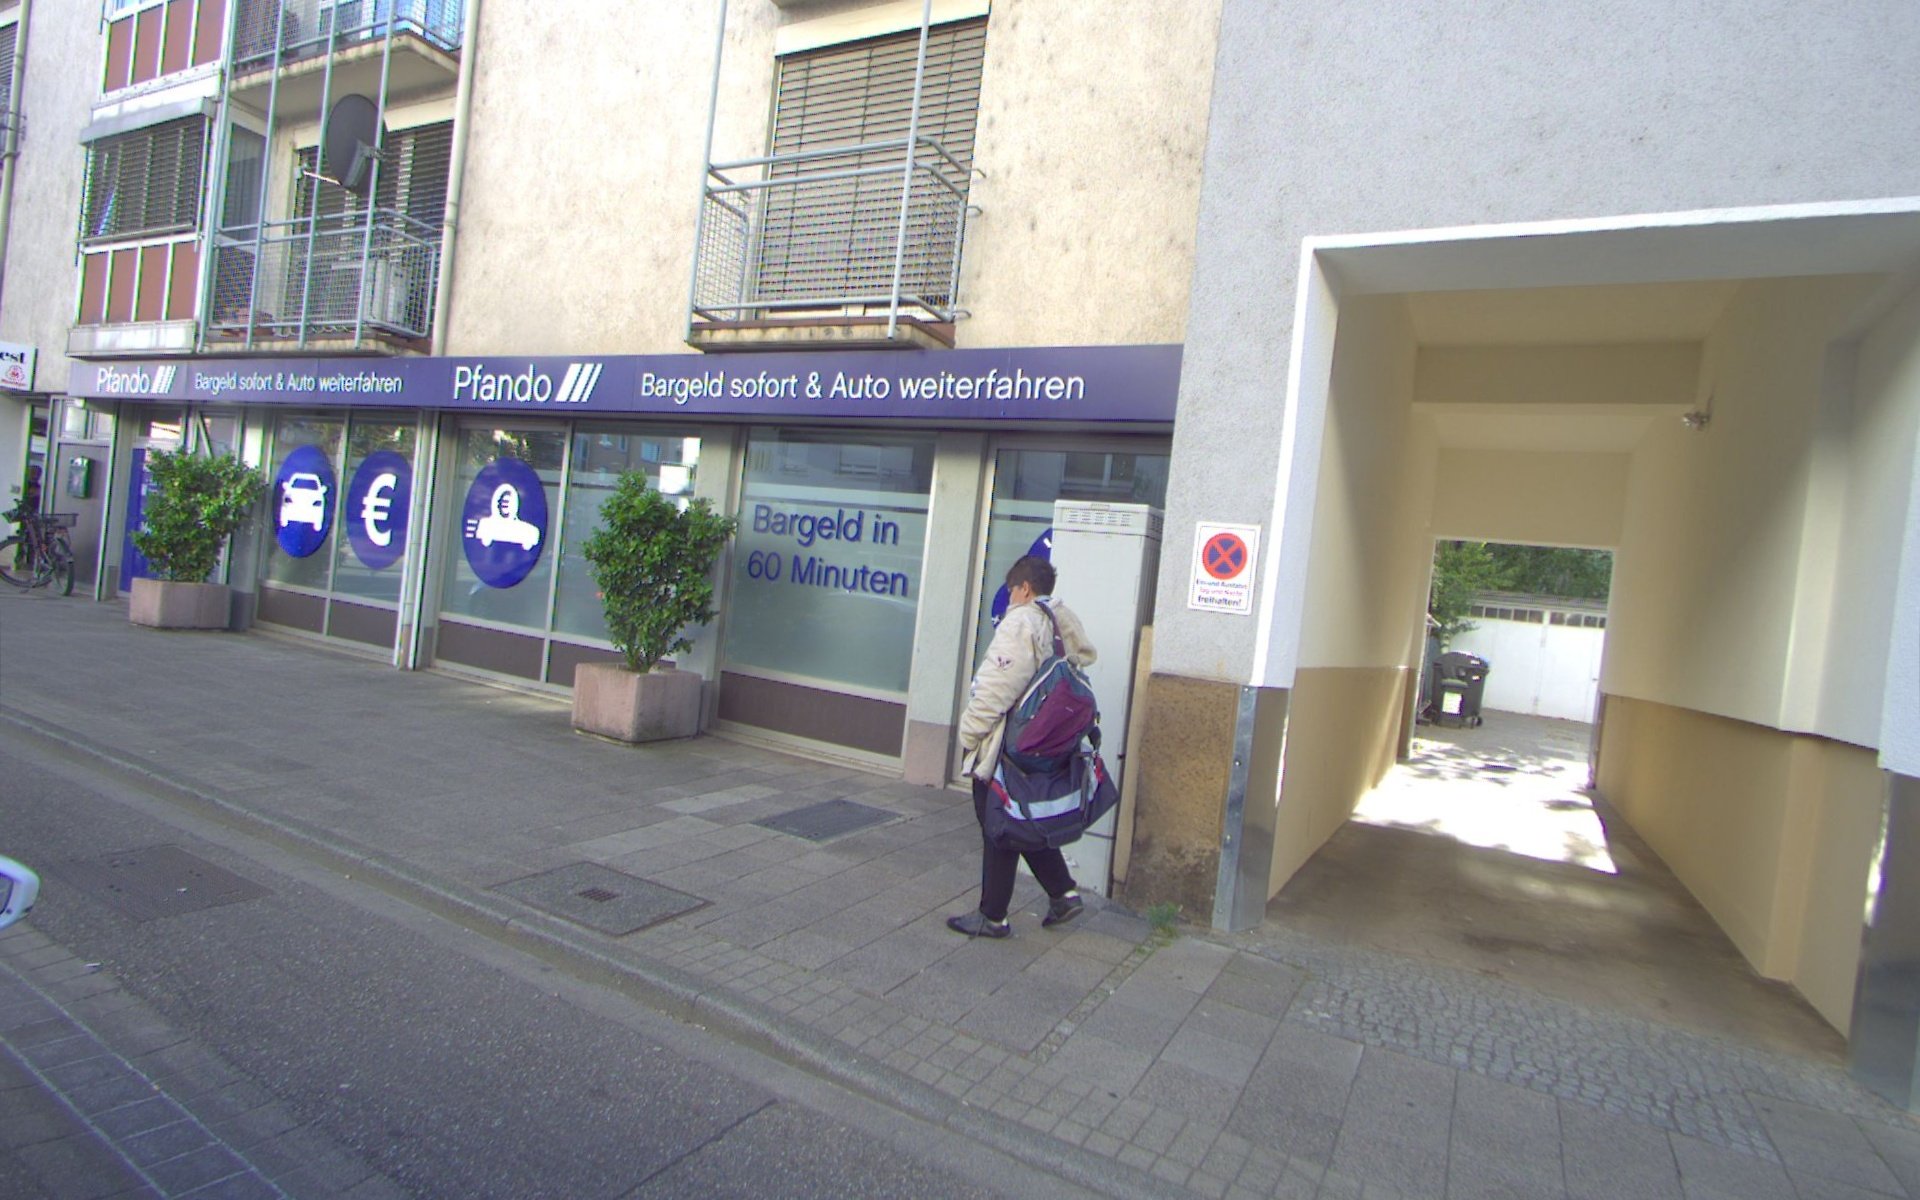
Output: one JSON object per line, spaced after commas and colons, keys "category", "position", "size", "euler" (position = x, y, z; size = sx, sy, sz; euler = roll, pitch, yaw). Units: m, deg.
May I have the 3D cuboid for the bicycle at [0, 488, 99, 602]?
{"category": "bicycle", "position": [-11.855, -0.731, 12.886], "size": [1.879, 1.280, 0.640], "euler": [7, 1, 32]}

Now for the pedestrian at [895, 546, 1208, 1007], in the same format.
{"category": "pedestrian", "position": [0.399, 0.640, 4.174], "size": [0.853, 1.593, 0.874], "euler": [8, 3, 29]}

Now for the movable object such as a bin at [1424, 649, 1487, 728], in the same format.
{"category": "movable object such as a bin", "position": [10.100, 1.782, 20.468], "size": [0.945, 1.426, 1.598], "euler": [7, 1, 29]}

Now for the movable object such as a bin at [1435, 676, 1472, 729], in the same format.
{"category": "movable object such as a bin", "position": [9.548, 1.975, 19.465], "size": [0.518, 0.922, 0.580], "euler": [7, 1, 29]}
